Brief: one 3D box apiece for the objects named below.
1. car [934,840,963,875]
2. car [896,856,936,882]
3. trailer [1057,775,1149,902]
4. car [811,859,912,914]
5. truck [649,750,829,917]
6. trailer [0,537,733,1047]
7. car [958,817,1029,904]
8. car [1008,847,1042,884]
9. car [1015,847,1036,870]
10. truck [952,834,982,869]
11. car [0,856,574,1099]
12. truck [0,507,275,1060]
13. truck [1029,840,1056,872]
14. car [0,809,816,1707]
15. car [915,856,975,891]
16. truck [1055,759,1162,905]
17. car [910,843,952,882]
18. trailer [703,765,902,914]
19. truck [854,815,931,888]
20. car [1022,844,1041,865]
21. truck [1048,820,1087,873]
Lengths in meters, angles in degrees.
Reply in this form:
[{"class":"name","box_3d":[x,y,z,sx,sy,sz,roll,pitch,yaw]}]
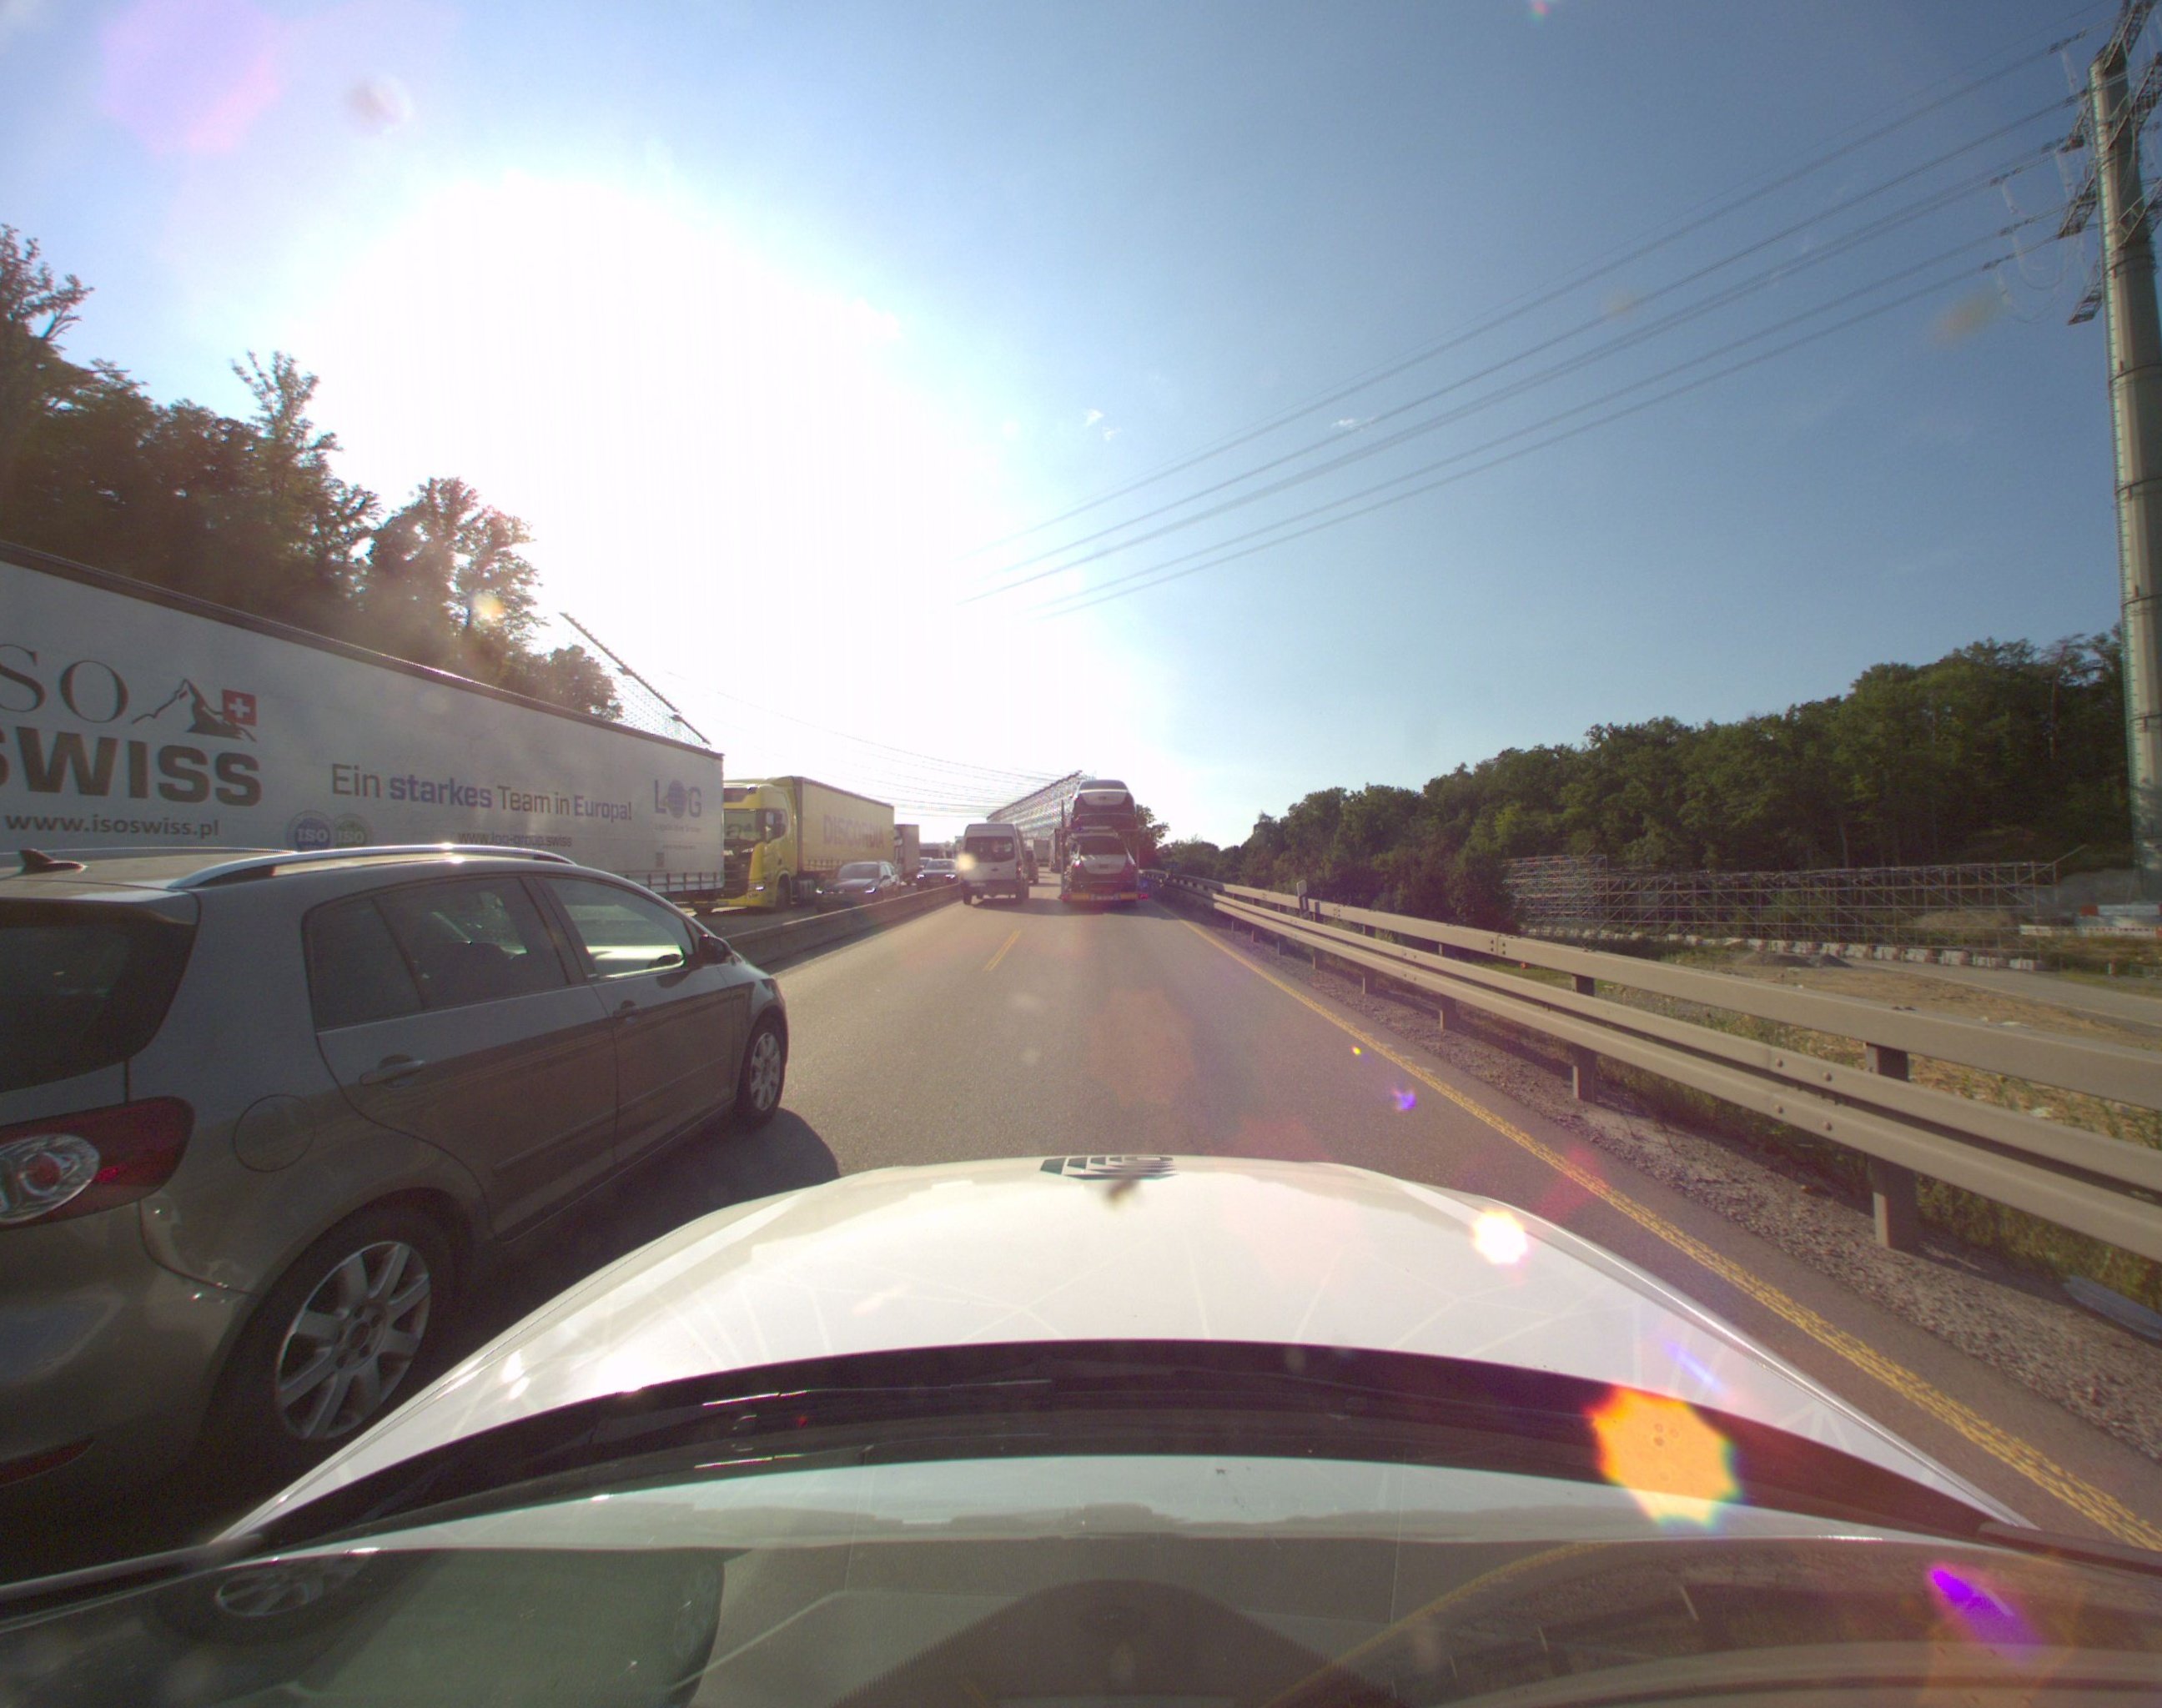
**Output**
[{"class":"car","box_3d":[-10.975,0.262,67.790,1.664,2.765,4.956,-1,0,-2]},{"class":"car","box_3d":[-10.297,0.975,51.142,1.804,1.531,4.044,-1,-2,-2]},{"class":"trailer","box_3d":[0.596,-0.301,33.679,2.866,3.994,15.270,-1,-2,-1]},{"class":"car","box_3d":[-6.401,0.939,24.280,1.749,1.449,4.533,-1,-2,0]},{"class":"truck","box_3d":[-9.758,-0.467,23.980,2.885,4.272,5.768,-1,-2,-1]},{"class":"trailer","box_3d":[-9.449,-0.355,12.887,2.444,4.266,12.146,-1,-2,1]},{"class":"car","box_3d":[-2.850,0.251,27.468,1.974,2.685,4.144,-1,-2,-1]},{"class":"car","box_3d":[-3.197,0.682,46.762,1.663,1.985,3.816,-1,-2,-1]},{"class":"car","box_3d":[-4.976,0.461,73.617,1.664,1.985,3.815,-1,-2,-2]},{"class":"truck","box_3d":[-13.765,-0.259,98.970,2.634,3.995,9.022,-1,0,-2]},{"class":"car","box_3d":[-6.464,0.791,7.091,1.665,1.506,3.847,-1,0,0]},{"class":"truck","box_3d":[-9.573,-0.554,5.200,2.435,4.272,6.322,-1,-2,1]},{"class":"truck","box_3d":[-6.143,0.293,126.723,3.643,4.677,11.673,-1,0,-5]},{"class":"car","box_3d":[-2.611,0.792,3.268,1.695,1.587,4.146,-1,-2,0]},{"class":"car","box_3d":[-6.451,0.953,39.201,1.987,1.531,4.725,-1,-2,1]},{"class":"truck","box_3d":[0.714,-0.540,25.392,2.861,3.980,5.768,-1,-2,-1]},{"class":"car","box_3d":[-11.004,0.679,60.113,2.122,2.750,5.500,-1,-2,-1]},{"class":"trailer","box_3d":[-9.878,-0.239,31.419,2.885,4.394,14.371,-1,-2,-1]},{"class":"truck","box_3d":[-10.065,-0.024,44.270,2.351,3.531,7.695,-1,-2,0]},{"class":"car","box_3d":[-4.965,0.118,81.906,1.664,1.985,3.815,-1,-2,-2]},{"class":"truck","box_3d":[-1.392,-0.654,77.241,3.221,4.677,11.682,-1,0,-3]}]
